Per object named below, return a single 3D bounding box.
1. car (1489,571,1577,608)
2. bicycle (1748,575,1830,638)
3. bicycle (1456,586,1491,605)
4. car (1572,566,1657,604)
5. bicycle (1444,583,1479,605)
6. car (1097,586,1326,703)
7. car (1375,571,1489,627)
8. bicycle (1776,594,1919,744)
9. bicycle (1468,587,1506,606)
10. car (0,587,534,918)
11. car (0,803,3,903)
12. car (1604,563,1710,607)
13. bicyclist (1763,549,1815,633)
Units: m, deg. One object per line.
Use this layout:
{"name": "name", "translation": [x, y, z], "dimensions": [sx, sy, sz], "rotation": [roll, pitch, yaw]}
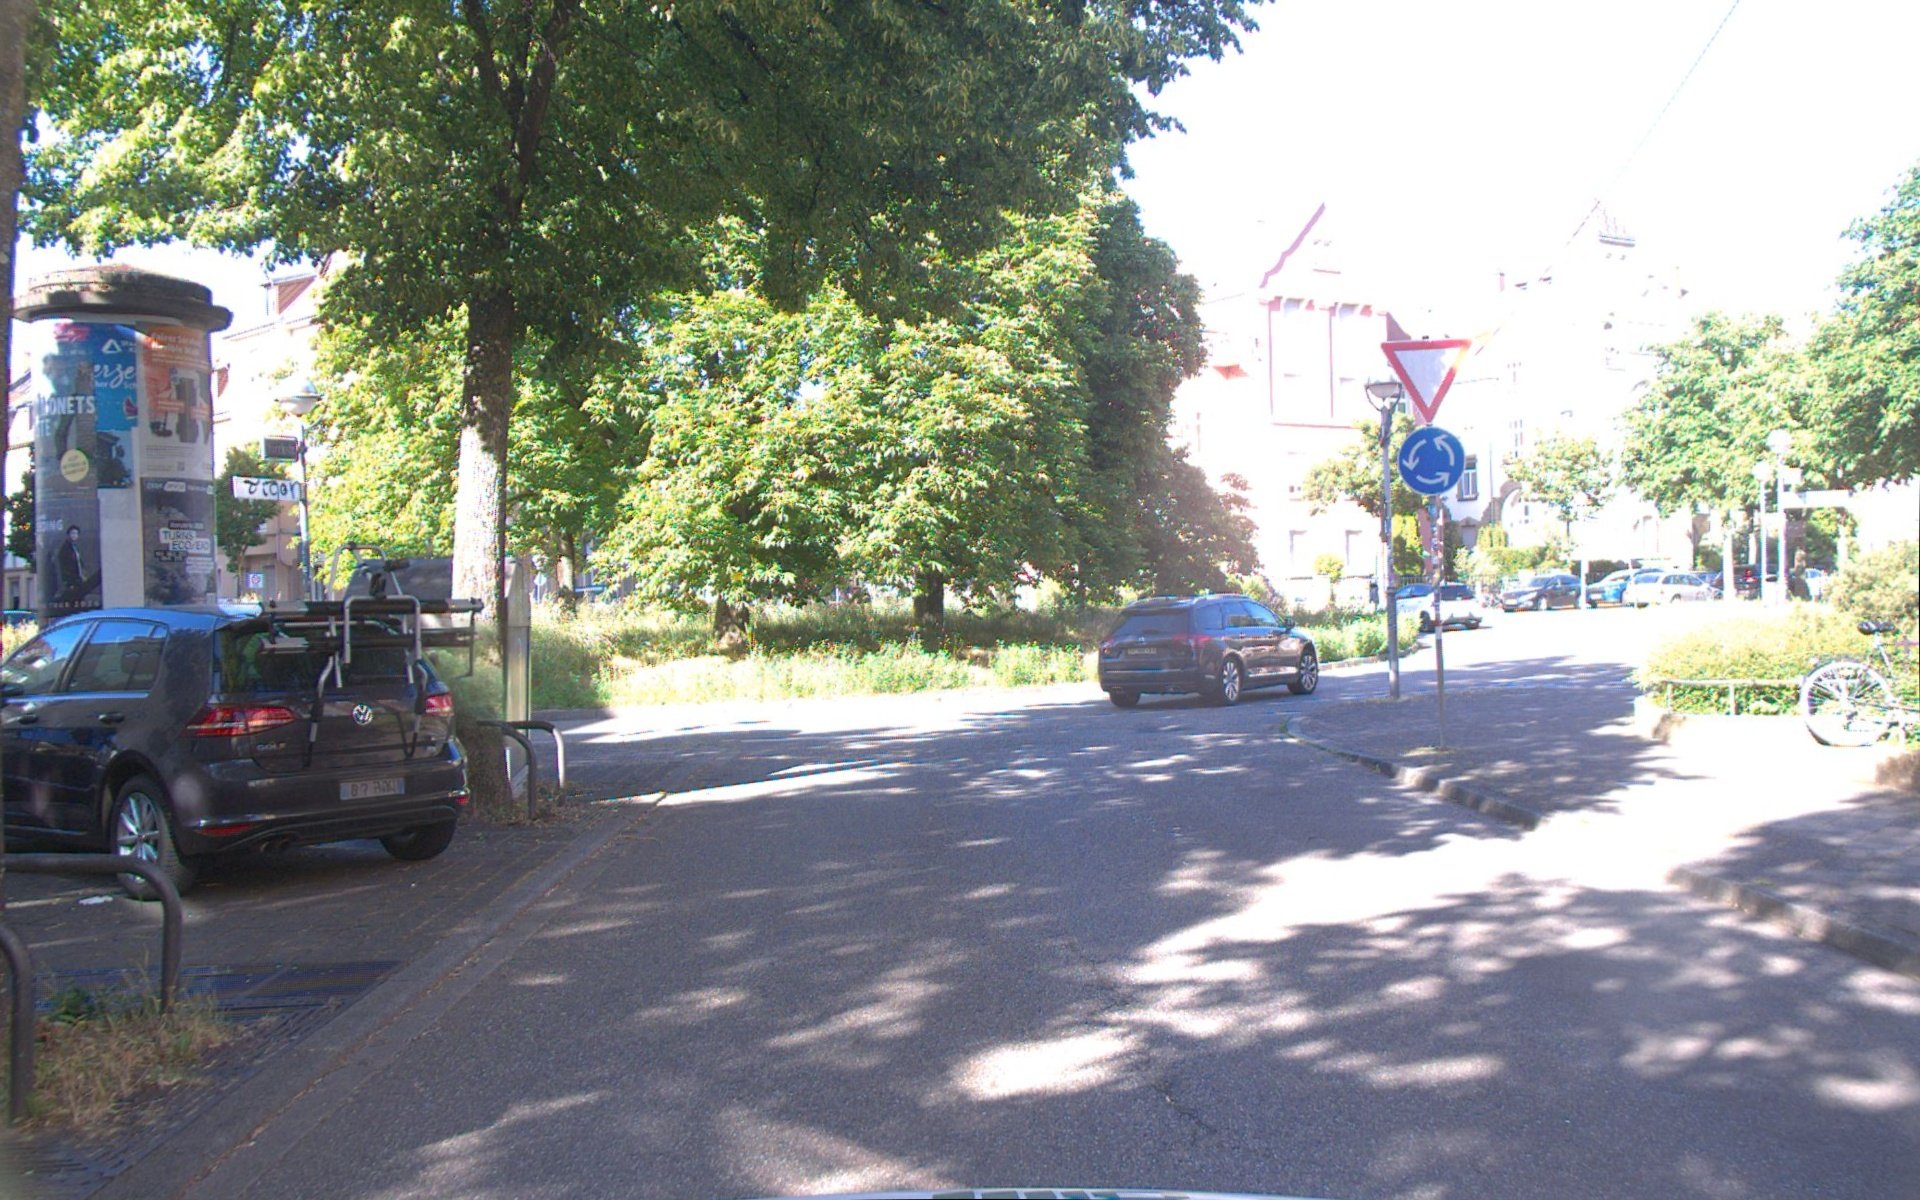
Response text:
{"name": "car", "translation": [23.963, -0.446, 69.143], "dimensions": [3.605, 1.393, 1.737], "rotation": [-2, 1, -36]}
{"name": "bicycle", "translation": [14.447, 0.098, 28.867], "dimensions": [0.496, 1.054, 1.875], "rotation": [-2, 0, 1]}
{"name": "bicycle", "translation": [22.351, -0.196, 72.041], "dimensions": [0.469, 0.837, 2.280], "rotation": [-2, 0, -10]}
{"name": "car", "translation": [28.368, -0.644, 71.659], "dimensions": [3.430, 1.514, 1.654], "rotation": [-2, 0, -31]}
{"name": "bicycle", "translation": [21.642, -0.268, 71.383], "dimensions": [0.469, 0.930, 2.280], "rotation": [-2, 0, -10]}
{"name": "car", "translation": [3.690, 0.588, 23.682], "dimensions": [1.683, 1.509, 4.133], "rotation": [-2, -1, 33]}
{"name": "car", "translation": [14.306, 0.005, 50.315], "dimensions": [1.685, 1.591, 3.757], "rotation": [-1, -1, -14]}
{"name": "bicycle", "translation": [7.757, 0.544, 13.210], "dimensions": [2.178, 1.180, 0.388], "rotation": [-2, 0, 25]}
{"name": "bicycle", "translation": [23.028, -0.173, 72.321], "dimensions": [0.613, 0.799, 2.280], "rotation": [-2, 0, -10]}
{"name": "car", "translation": [-4.430, 0.728, 9.514], "dimensions": [4.062, 1.507, 1.768], "rotation": [-1, -1, 38]}
{"name": "car", "translation": [-6.759, 0.816, 8.435], "dimensions": [3.919, 1.427, 1.781], "rotation": [-2, 0, 36]}
{"name": "car", "translation": [25.683, -0.561, 60.941], "dimensions": [3.922, 1.480, 1.545], "rotation": [-2, 0, -30]}
{"name": "bicyclist", "translation": [14.432, -0.156, 28.802], "dimensions": [0.498, 1.441, 0.742], "rotation": [-2, 0, 1]}
